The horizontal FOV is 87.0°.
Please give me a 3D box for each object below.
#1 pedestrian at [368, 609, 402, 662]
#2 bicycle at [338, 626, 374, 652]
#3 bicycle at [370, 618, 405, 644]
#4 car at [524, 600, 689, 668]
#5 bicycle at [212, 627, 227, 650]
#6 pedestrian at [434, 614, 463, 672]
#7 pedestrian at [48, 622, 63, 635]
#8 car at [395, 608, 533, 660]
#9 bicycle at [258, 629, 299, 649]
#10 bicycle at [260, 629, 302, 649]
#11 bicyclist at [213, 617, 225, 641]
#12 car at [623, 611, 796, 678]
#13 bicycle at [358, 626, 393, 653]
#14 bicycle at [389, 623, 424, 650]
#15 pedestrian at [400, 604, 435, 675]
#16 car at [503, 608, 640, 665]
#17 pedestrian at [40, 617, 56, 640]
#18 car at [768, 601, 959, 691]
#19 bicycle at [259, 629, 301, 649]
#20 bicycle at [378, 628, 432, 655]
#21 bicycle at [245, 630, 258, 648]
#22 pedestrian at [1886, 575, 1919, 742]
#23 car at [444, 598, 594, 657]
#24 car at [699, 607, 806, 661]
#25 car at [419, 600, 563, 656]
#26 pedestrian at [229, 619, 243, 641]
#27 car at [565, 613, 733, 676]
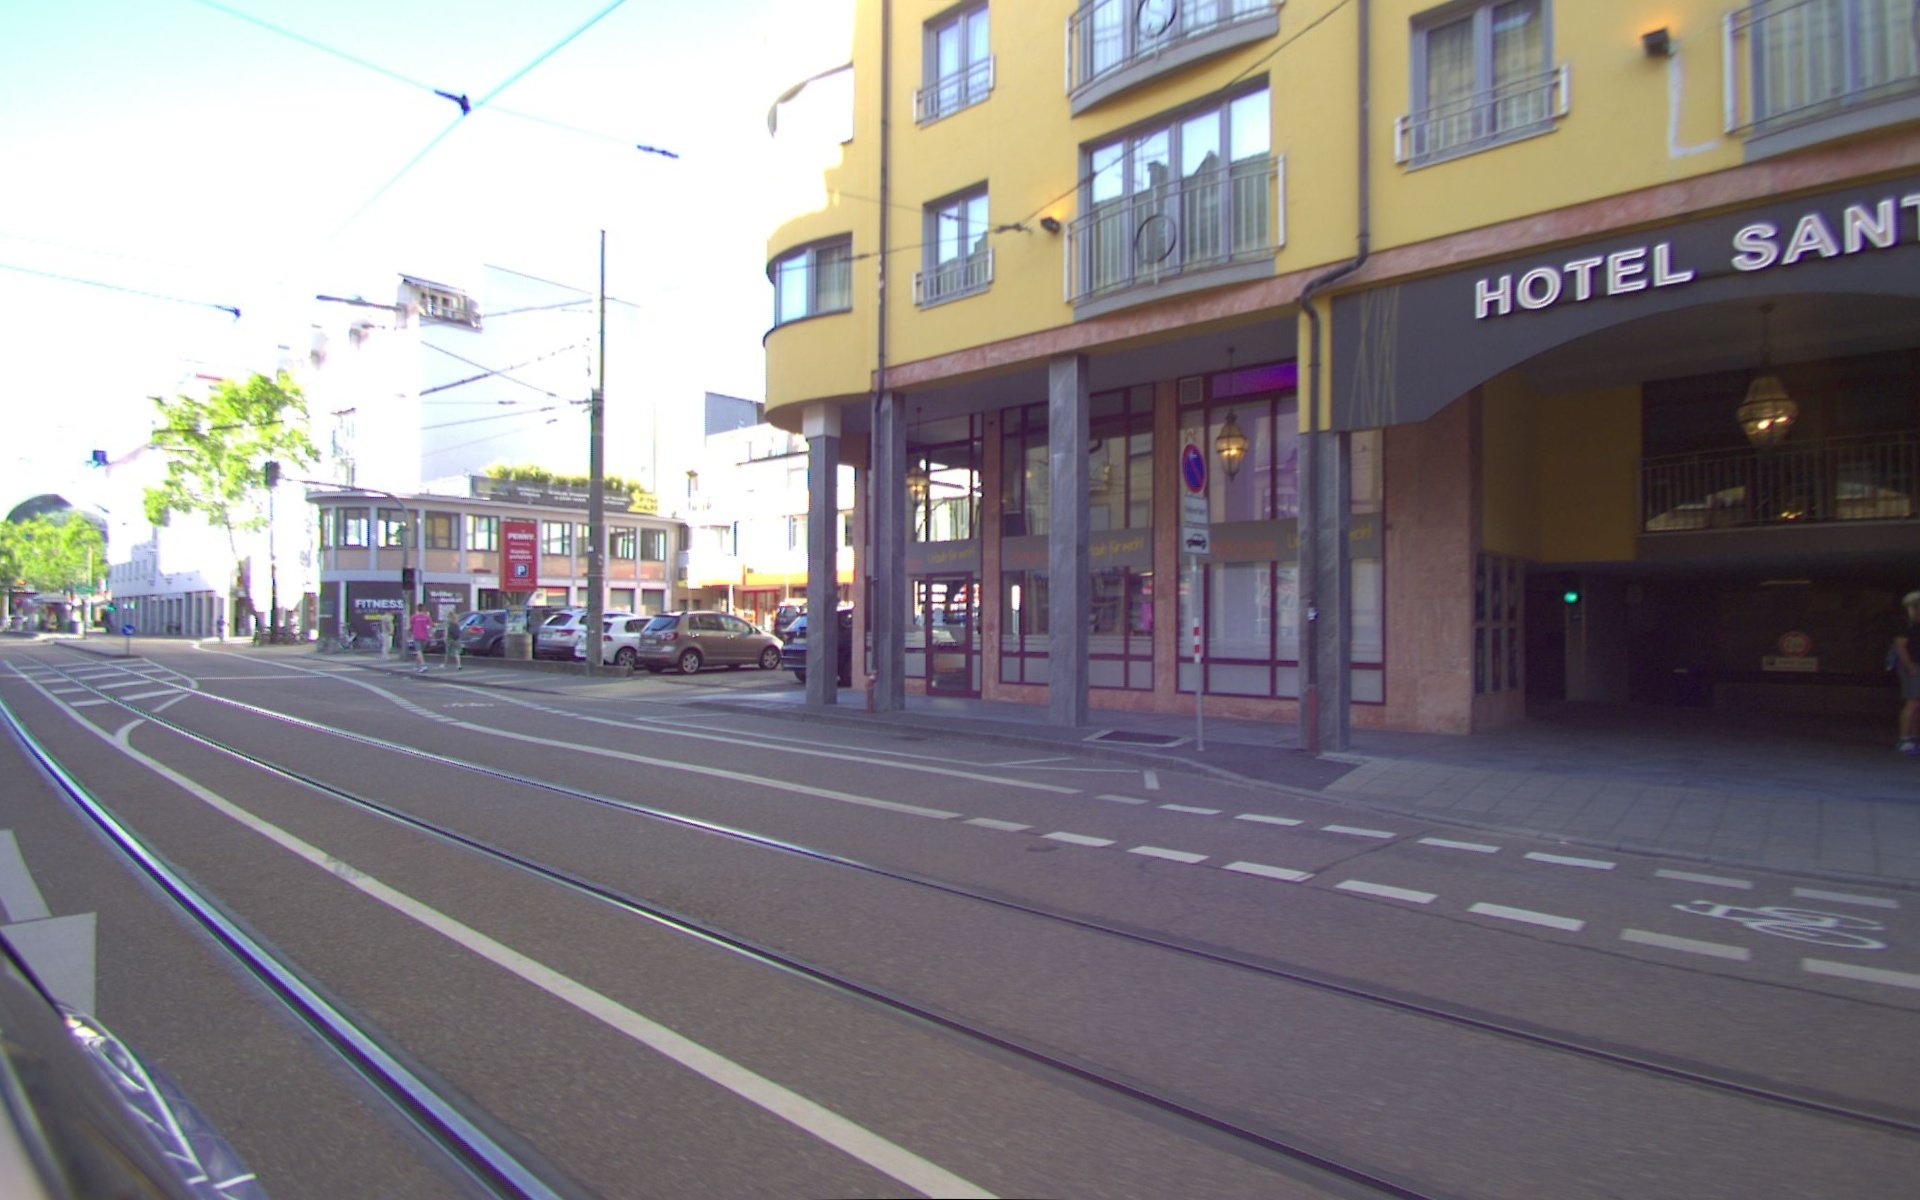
[{"bbox_3d":[-19.491,1.188,34.315,0.778,1.777,0.707,-1,-2,34],"label":"pedestrian"},{"bbox_3d":[-24.461,1.564,40.987,1.874,1.044,0.519,-1,-2,34],"label":"bicycle"},{"bbox_3d":[-23.618,1.282,41.714,1.874,1.044,0.459,-1,-2,34],"label":"bicycle"},{"bbox_3d":[-10.308,0.986,29.744,1.785,1.825,4.189,2,-1,41],"label":"car"},{"bbox_3d":[-44.237,2.292,60.490,0.556,1.130,2.009,-11,8,-35],"label":"bicycle"},{"bbox_3d":[-14.608,1.227,28.908,0.499,1.629,0.566,-1,-2,40],"label":"pedestrian"},{"bbox_3d":[-68.272,2.142,76.394,0.747,0.996,0.784,-1,-2,42],"label":"pedestrian"},{"bbox_3d":[-18.048,1.196,36.947,1.784,1.777,4.189,-1,-1,41],"label":"car"},{"bbox_3d":[-37.771,2.151,56.091,1.850,1.085,0.465,1,-2,-40],"label":"bicycle"},{"bbox_3d":[-37.107,2.120,55.307,1.850,1.085,0.465,1,-2,-40],"label":"bicycle"},{"bbox_3d":[-44.189,1.724,60.369,0.555,1.371,0.720,2,0,-36],"label":"bicyclist"},{"bbox_3d":[-6.524,1.107,26.663,1.784,1.560,4.189,0,0,41],"label":"car"},{"bbox_3d":[-23.840,1.594,41.239,1.874,1.088,0.459,-1,-2,34],"label":"bicycle"},{"bbox_3d":[-22.877,1.504,41.829,1.875,1.095,0.459,0,-1,35],"label":"bicycle"},{"bbox_3d":[-15.161,1.089,28.267,0.709,1.961,0.631,-1,-2,40],"label":"pedestrian"},{"bbox_3d":[-12.213,1.113,31.985,1.785,1.685,3.650,-1,-2,42],"label":"car"},{"bbox_3d":[-65.847,2.036,73.060,0.747,1.657,0.784,-1,-2,42],"label":"pedestrian"},{"bbox_3d":[-2.066,0.982,22.680,1.785,1.826,4.188,-1,-2,41],"label":"car"},{"bbox_3d":[-36.842,2.107,54.825,1.850,1.085,0.465,1,-2,-40],"label":"bicycle"},{"bbox_3d":[-22.176,1.645,40.449,1.847,1.044,0.427,1,-2,-24],"label":"bicycle"},{"bbox_3d":[-38.400,2.113,54.833,0.463,0.939,1.757,1,-2,-39],"label":"bicycle"},{"bbox_3d":[10.643,0.623,10.873,0.699,1.783,0.957,1,-2,-44],"label":"pedestrian"},{"bbox_3d":[-14.480,0.900,33.382,1.785,1.826,4.188,-1,-2,42],"label":"car"},{"bbox_3d":[-7.628,1.223,37.412,1.694,1.761,3.543,-1,1,39],"label":"car"},{"bbox_3d":[-16.245,0.979,35.208,1.784,1.826,4.189,-1,-2,41],"label":"car"},{"bbox_3d":[-55.625,2.278,77.784,0.731,1.657,0.737,-1,-2,42],"label":"pedestrian"},{"bbox_3d":[-8.627,1.208,28.327,1.785,1.621,4.188,-1,-2,41],"label":"car"}]
